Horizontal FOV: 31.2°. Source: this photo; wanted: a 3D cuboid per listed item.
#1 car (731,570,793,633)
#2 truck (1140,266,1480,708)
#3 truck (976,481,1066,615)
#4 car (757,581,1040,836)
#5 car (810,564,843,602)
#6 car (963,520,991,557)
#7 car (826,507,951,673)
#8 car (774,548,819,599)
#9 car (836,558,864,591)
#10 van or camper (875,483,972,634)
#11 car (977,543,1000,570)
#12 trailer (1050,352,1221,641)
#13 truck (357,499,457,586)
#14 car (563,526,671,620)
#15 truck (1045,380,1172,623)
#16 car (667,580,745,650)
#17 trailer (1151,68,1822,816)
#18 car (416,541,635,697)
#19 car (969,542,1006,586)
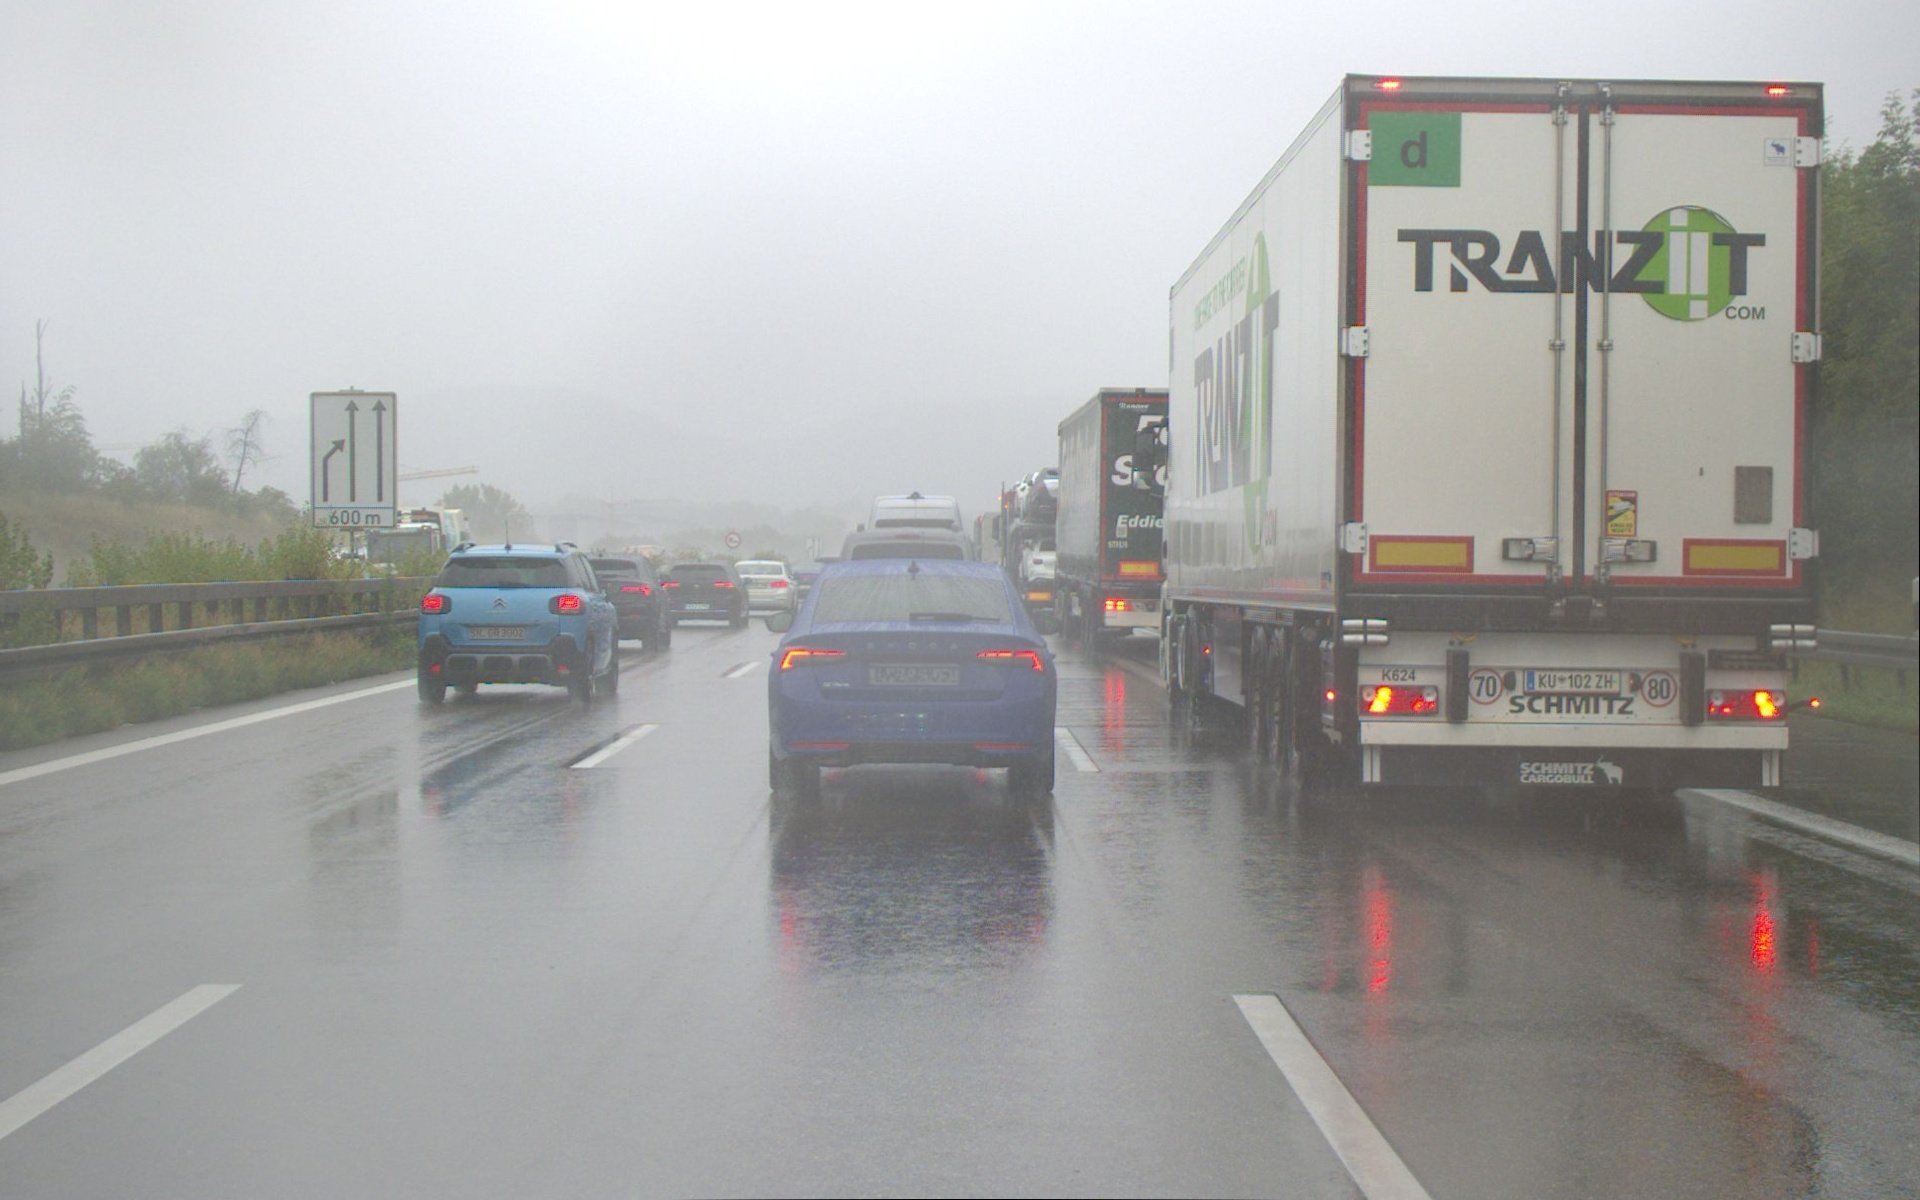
[{"bbox_3d":[-5.041,0.025,87.782,1.439,1.528,3.322,0,1,-1],"label":"car"},{"bbox_3d":[3.148,-1.022,32.102,2.630,3.814,4.791,0,1,-1],"label":"truck"},{"bbox_3d":[1.571,-1.421,91.419,1.993,3.410,8.033,0,1,-2],"label":"truck"},{"bbox_3d":[-0.350,0.617,21.919,1.635,1.440,4.000,0,1,0],"label":"car"},{"bbox_3d":[-6.348,-0.830,163.650,1.448,1.777,3.409,1,1,-1],"label":"car"},{"bbox_3d":[0.877,-3.139,176.196,1.335,1.883,3.040,-1,1,-1],"label":"car"},{"bbox_3d":[-0.781,-0.139,38.557,1.336,1.773,3.322,0,1,-1],"label":"car"},{"bbox_3d":[-5.850,-0.941,123.049,1.448,1.777,3.409,1,1,-1],"label":"car"},{"bbox_3d":[-6.023,-1.413,187.892,1.448,1.777,3.409,1,1,-1],"label":"car"},{"bbox_3d":[-0.708,-0.819,66.309,1.797,2.797,4.768,0,1,-1],"label":"van or camper"},{"bbox_3d":[1.911,-2.909,230.231,1.448,1.777,3.409,1,1,-1],"label":"car"},{"bbox_3d":[2.678,-1.604,55.326,2.047,4.162,11.449,0,1,-1],"label":"trailer"},{"bbox_3d":[-18.379,-1.891,114.505,2.481,2.710,4.527,-2,0,0],"label":"truck"},{"bbox_3d":[-5.326,-0.443,53.679,1.359,1.426,3.364,0,1,0],"label":"car"},{"bbox_3d":[2.612,-1.728,61.269,2.047,4.178,4.000,0,1,-1],"label":"truck"},{"bbox_3d":[-5.392,0.309,73.188,1.439,1.415,3.322,0,1,-1],"label":"car"},{"bbox_3d":[3.223,-0.983,25.730,2.630,3.999,14.630,0,1,-1],"label":"trailer"},{"bbox_3d":[-4.429,0.155,35.533,1.721,1.518,4.000,0,1,0],"label":"car"},{"bbox_3d":[1.124,-1.487,141.747,1.448,1.777,3.409,1,1,-1],"label":"car"}]
